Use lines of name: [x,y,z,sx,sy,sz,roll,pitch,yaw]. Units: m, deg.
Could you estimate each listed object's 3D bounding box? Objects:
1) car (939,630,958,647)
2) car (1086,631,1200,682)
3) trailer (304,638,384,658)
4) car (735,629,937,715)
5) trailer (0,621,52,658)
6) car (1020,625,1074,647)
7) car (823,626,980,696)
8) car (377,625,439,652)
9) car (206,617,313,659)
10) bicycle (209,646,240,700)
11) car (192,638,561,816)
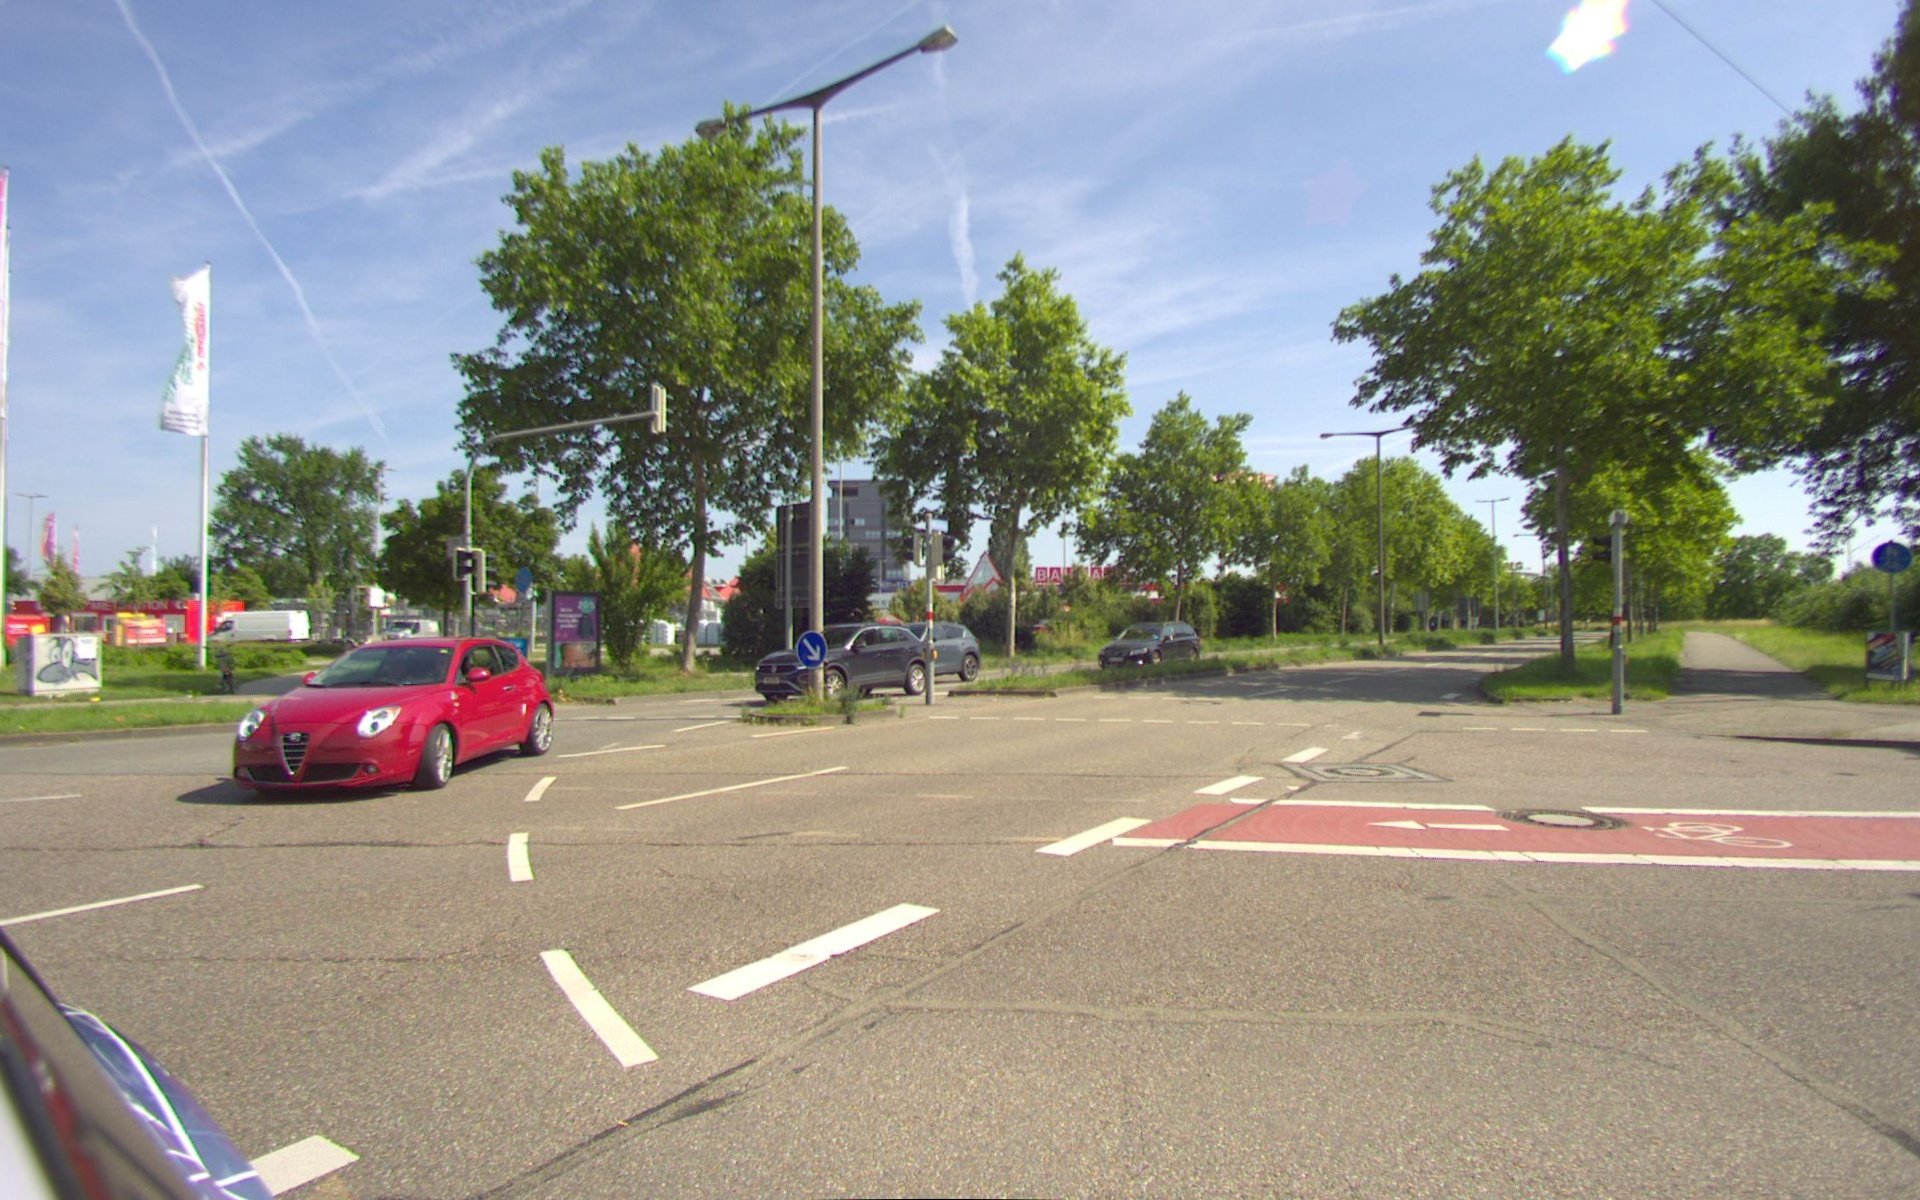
car: [-1.088,3.622,96.191,1.667,1.586,3.999,-1,-2,1]
car: [5.837,1.747,31.881,1.714,1.439,4.522,-4,-3,35]
trailer: [-40.064,3.118,65.862,3.978,1.131,2.068,-1,0,3]
car: [-2.457,1.400,20.837,1.872,1.557,4.031,-3,-2,36]
trailer: [-62.629,2.588,66.463,1.729,2.394,4.405,0,-2,4]
car: [6.459,2.679,75.615,3.806,1.597,1.850,-1,-2,-2]
car: [-1.457,1.584,27.040,1.768,1.671,4.442,-4,-3,35]
car: [-39.345,2.789,72.230,1.848,1.830,4.831,1,-3,-1]
car: [-45.610,2.456,65.965,5.607,2.561,2.020,-1,0,-1]
bicycle: [-16.817,1.647,23.157,0.495,1.116,1.796,1,-1,-34]
car: [-5.753,1.171,10.587,1.636,1.449,3.907,-2,-3,0]
